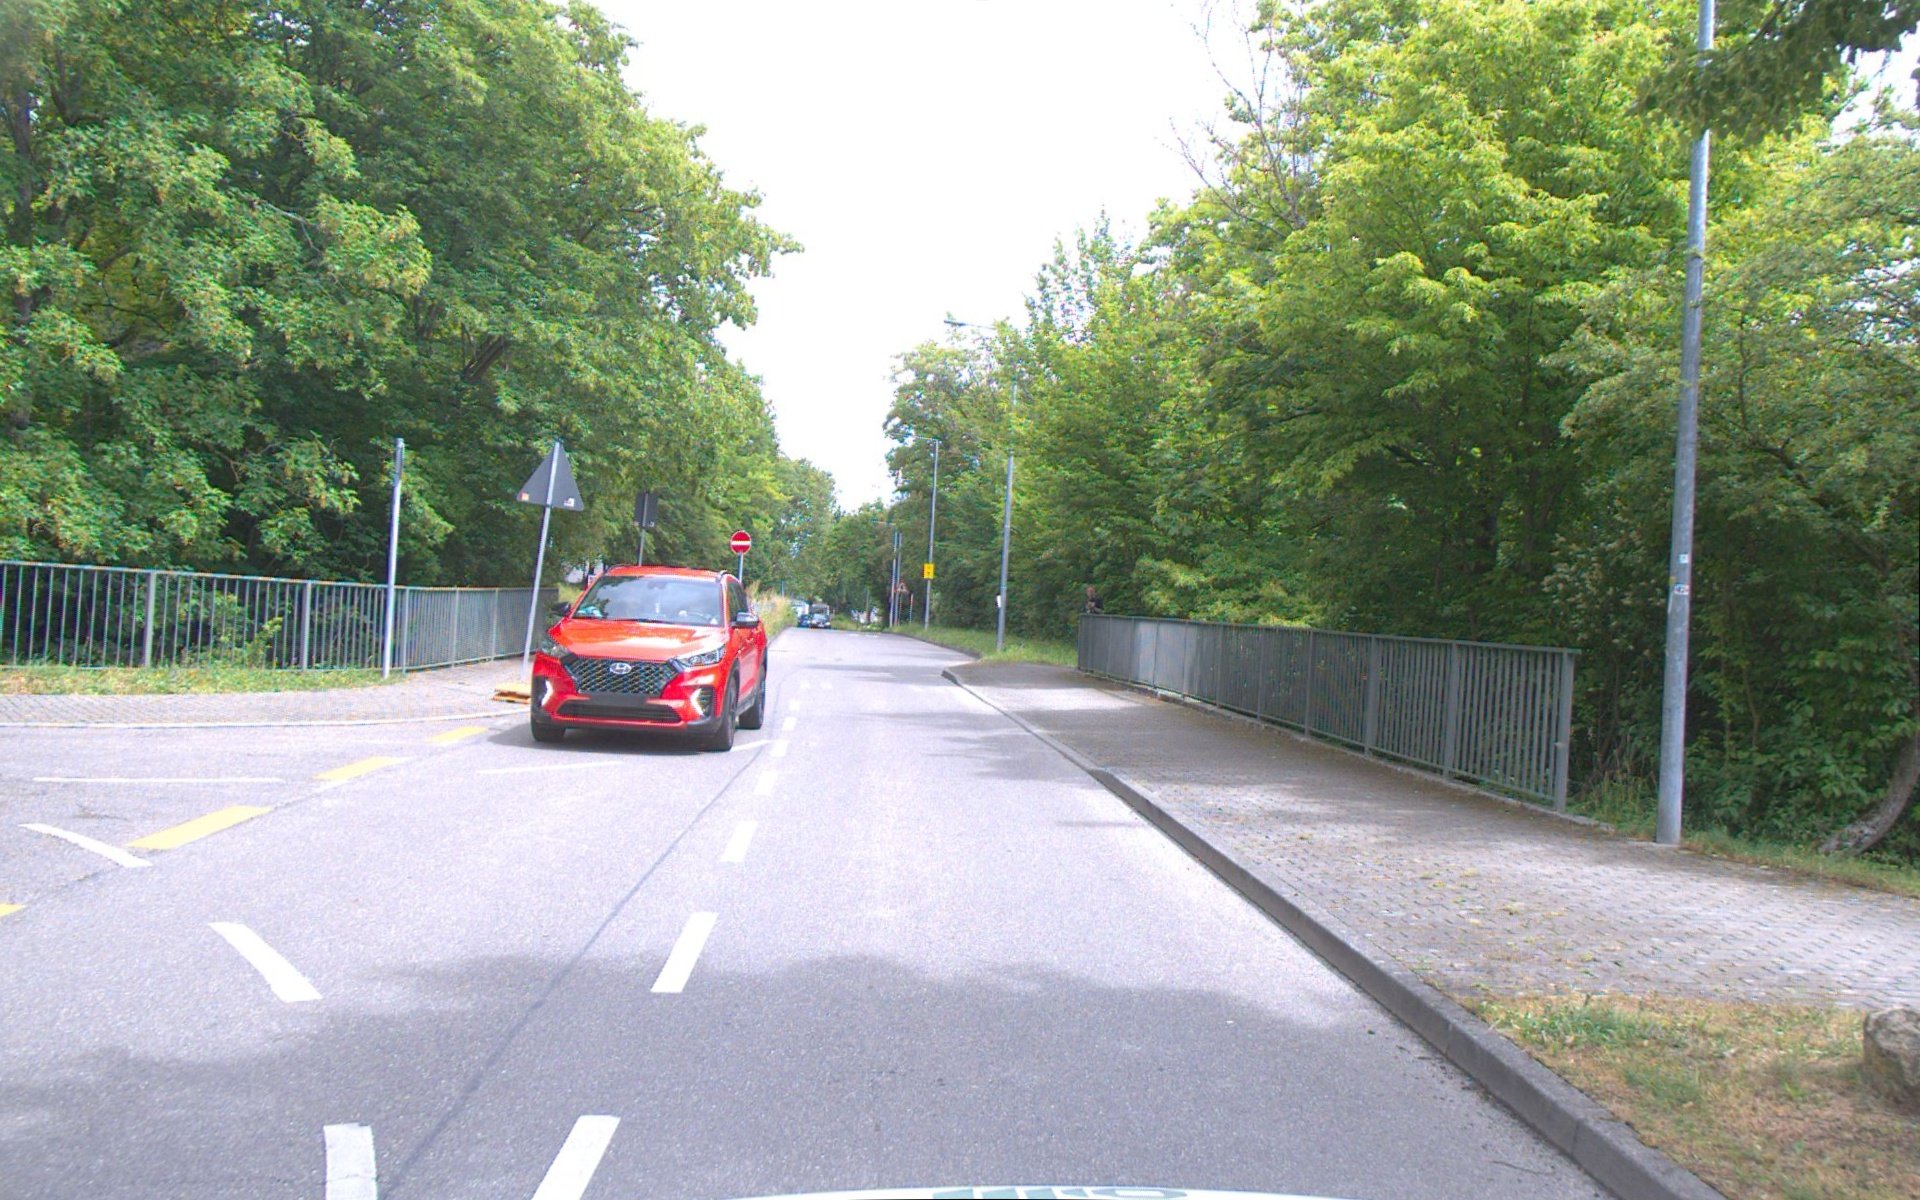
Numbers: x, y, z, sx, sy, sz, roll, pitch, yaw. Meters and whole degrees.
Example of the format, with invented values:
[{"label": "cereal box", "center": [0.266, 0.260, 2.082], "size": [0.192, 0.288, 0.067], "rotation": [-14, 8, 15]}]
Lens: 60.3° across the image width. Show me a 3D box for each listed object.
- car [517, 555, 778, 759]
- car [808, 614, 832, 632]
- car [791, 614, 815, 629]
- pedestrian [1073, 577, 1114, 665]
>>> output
[{"label": "car", "center": [-2.937, 0.484, 16.427], "size": [1.806, 1.687, 4.220], "rotation": [2, 0, -1]}, {"label": "car", "center": [-11.332, 1.846, 133.917], "size": [1.659, 1.372, 4.092], "rotation": [3, -1, -2]}, {"label": "car", "center": [-17.053, 2.314, 179.443], "size": [1.938, 1.407, 4.001], "rotation": [4, -1, 2]}, {"label": "pedestrian", "center": [2.795, 0.441, 34.722], "size": [0.578, 1.814, 0.679], "rotation": [3, -1, -19]}]
